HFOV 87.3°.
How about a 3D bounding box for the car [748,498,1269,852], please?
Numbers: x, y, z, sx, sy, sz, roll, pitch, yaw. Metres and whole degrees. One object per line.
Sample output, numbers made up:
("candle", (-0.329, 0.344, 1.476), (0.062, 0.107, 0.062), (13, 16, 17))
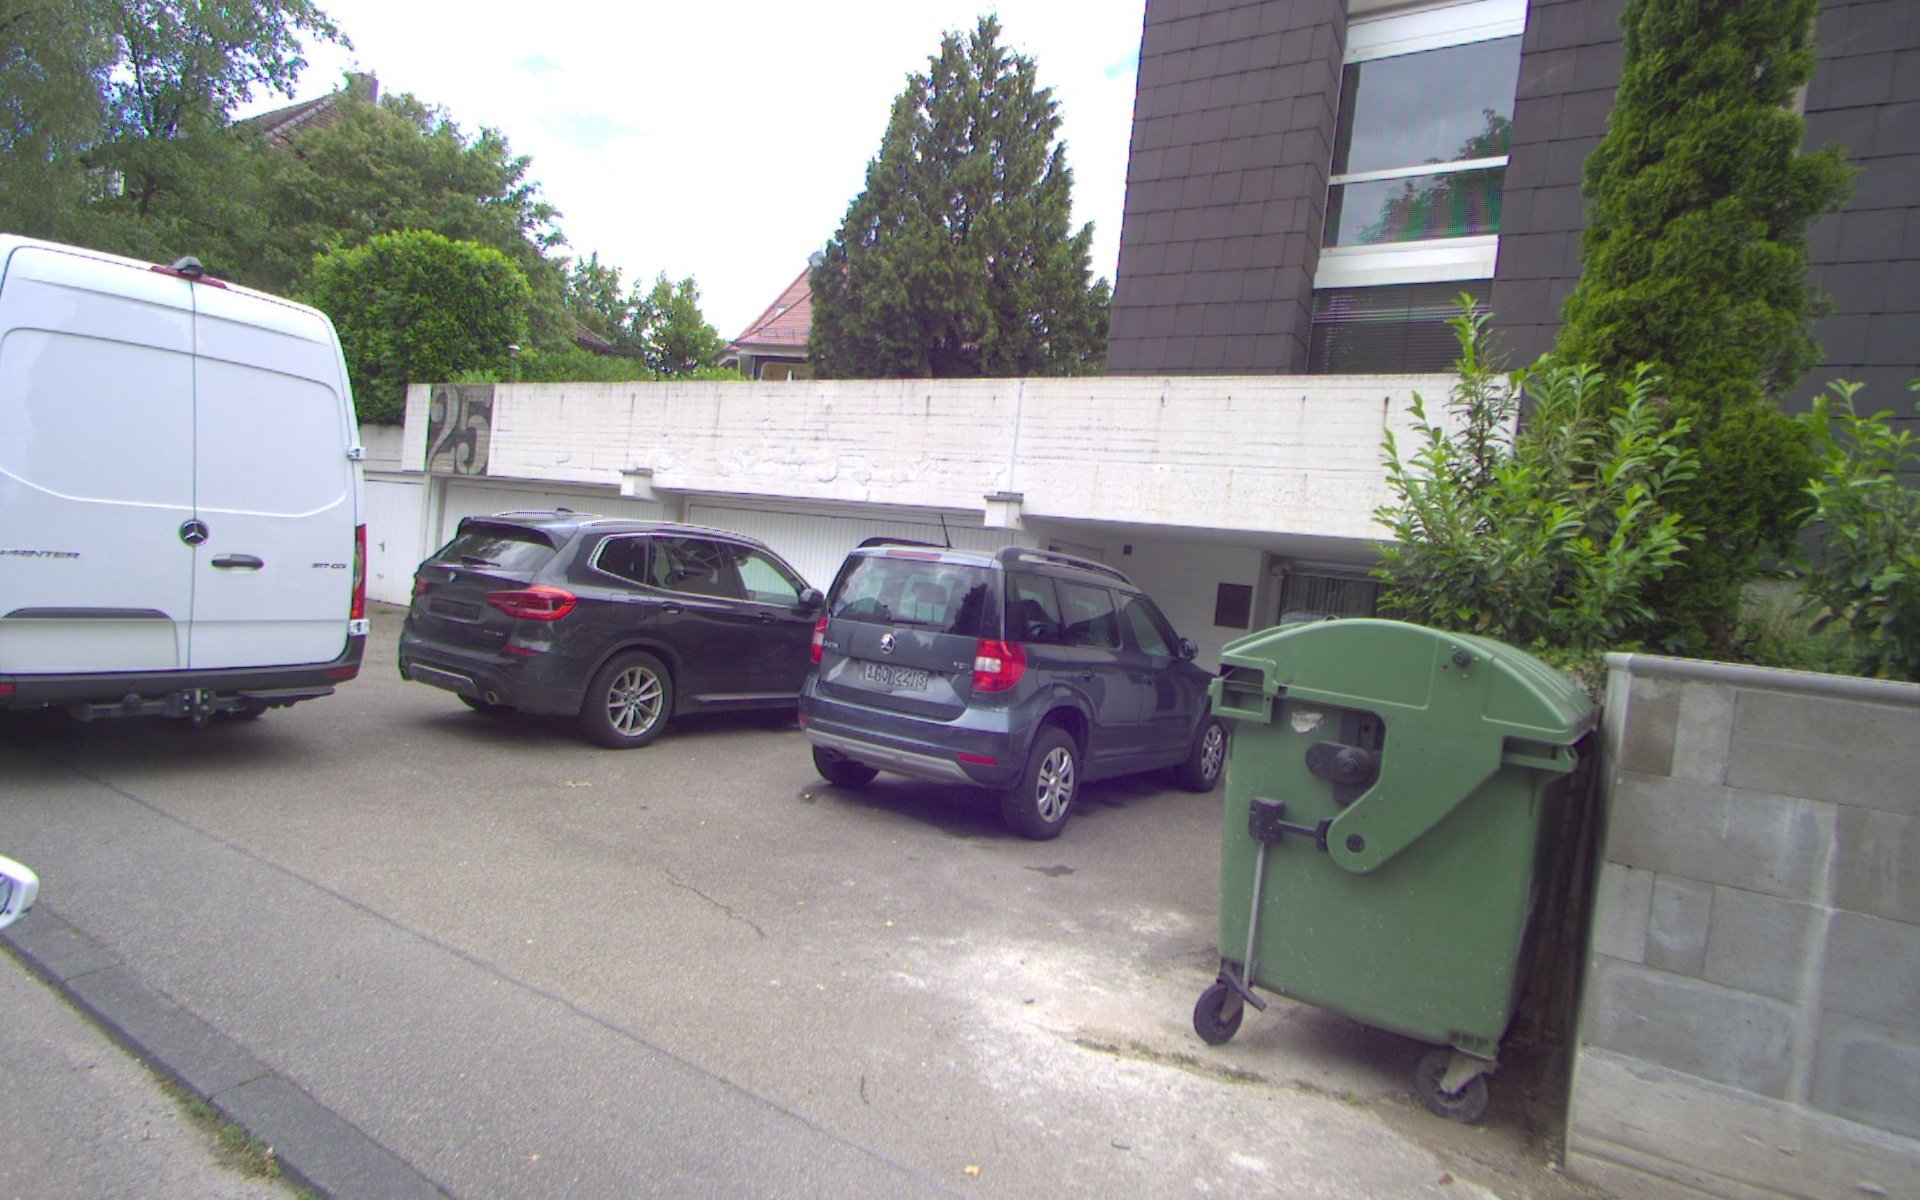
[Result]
("car", (0.630, 0.457, 7.333), (1.804, 1.772, 3.973), (7, 1, 35))

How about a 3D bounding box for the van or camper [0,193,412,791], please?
("van or camper", (-6.609, -0.726, 6.838), (6.432, 2.653, 1.995), (7, 1, 32))

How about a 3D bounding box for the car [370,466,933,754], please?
("car", (-2.265, 0.129, 8.614), (1.710, 1.772, 4.418), (7, 1, 33))

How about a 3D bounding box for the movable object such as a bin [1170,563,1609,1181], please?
("movable object such as a bin", (1.449, 0.732, 3.327), (1.016, 1.550, 1.034), (7, 2, 33))
